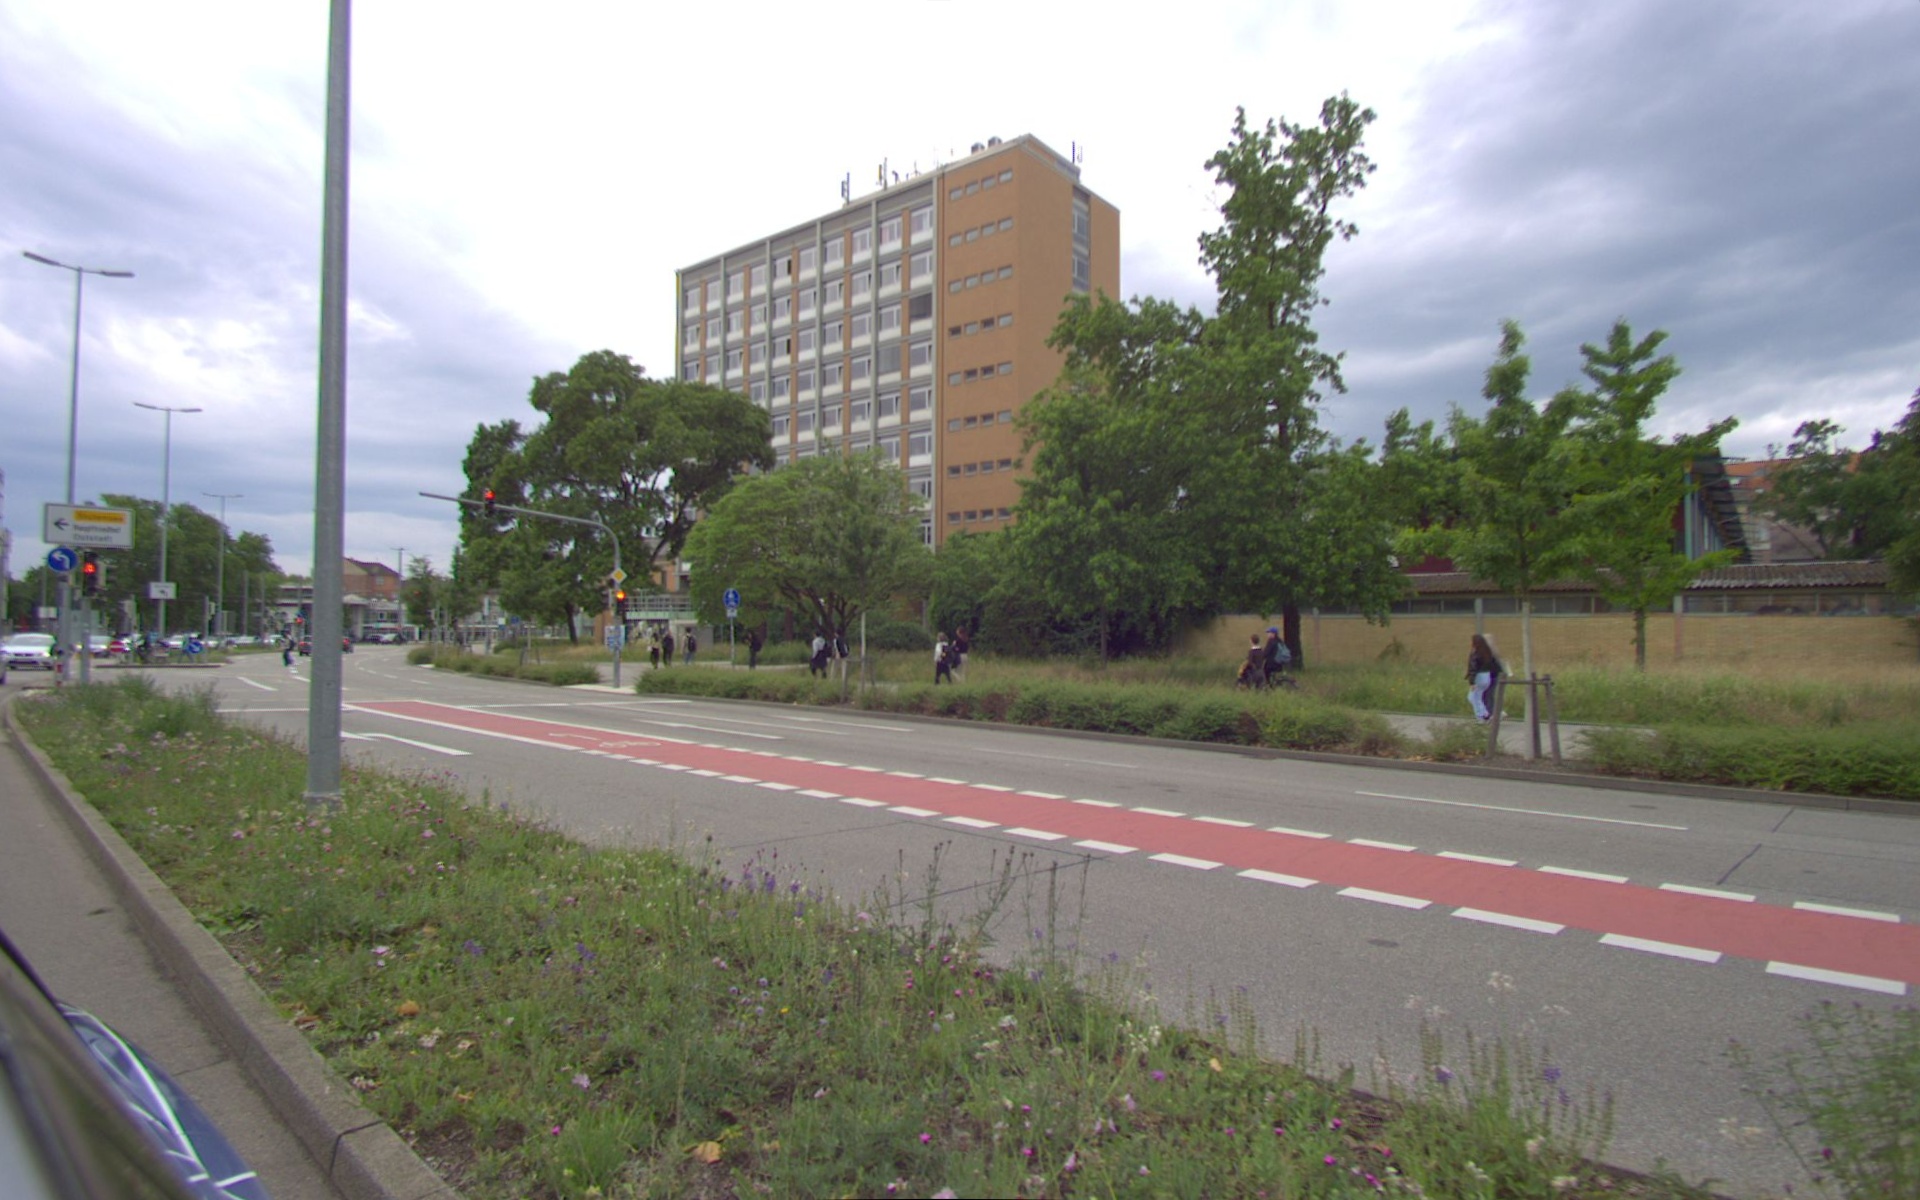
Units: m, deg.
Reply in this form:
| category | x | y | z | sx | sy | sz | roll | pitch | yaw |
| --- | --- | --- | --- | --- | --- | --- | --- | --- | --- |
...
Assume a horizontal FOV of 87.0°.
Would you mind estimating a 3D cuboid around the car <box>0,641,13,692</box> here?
| category | x | y | z | sx | sy | sz | roll | pitch | yaw |
| --- | --- | --- | --- | --- | --- | --- | --- | --- | --- |
| car | -27.204 | 1.828 | 27.409 | 1.699 | 1.425 | 4.256 | 0 | -2 | -35 |

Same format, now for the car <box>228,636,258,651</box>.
| category | x | y | z | sx | sy | sz | roll | pitch | yaw |
| --- | --- | --- | --- | --- | --- | --- | --- | --- | --- |
| car | -79.286 | 4.853 | 111.925 | 1.774 | 1.608 | 3.771 | 2 | -4 | -22 |

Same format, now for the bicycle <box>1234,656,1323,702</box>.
| category | x | y | z | sx | sy | sz | roll | pitch | yaw |
| --- | --- | --- | --- | --- | --- | --- | --- | --- | --- |
| bicycle | 6.473 | 1.594 | 20.648 | 0.651 | 0.895 | 1.719 | 3 | -4 | -31 |

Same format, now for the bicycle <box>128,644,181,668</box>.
| category | x | y | z | sx | sy | sz | roll | pitch | yaw |
| --- | --- | --- | --- | --- | --- | --- | --- | --- | --- |
| bicycle | -40.956 | 2.848 | 51.471 | 0.807 | 1.151 | 1.977 | -3 | -5 | 45 |

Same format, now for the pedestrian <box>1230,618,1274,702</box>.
| category | x | y | z | sx | sy | sz | roll | pitch | yaw |
| --- | --- | --- | --- | --- | --- | --- | --- | --- | --- |
| pedestrian | 5.803 | 1.191 | 20.098 | 0.567 | 1.621 | 0.618 | 3 | -4 | -31 |

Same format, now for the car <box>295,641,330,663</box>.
| category | x | y | z | sx | sy | sz | roll | pitch | yaw |
| --- | --- | --- | --- | --- | --- | --- | --- | --- | --- |
| car | -51.606 | 4.114 | 80.714 | 1.785 | 1.680 | 3.962 | 3 | -3 | -24 |

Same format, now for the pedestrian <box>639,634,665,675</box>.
| category | x | y | z | sx | sy | sz | roll | pitch | yaw |
| --- | --- | --- | --- | --- | --- | --- | --- | --- | --- |
| pedestrian | -12.993 | 2.303 | 42.687 | 0.698 | 1.684 | 0.944 | 2 | -3 | -43 |

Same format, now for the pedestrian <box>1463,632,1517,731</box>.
| category | x | y | z | sx | sy | sz | roll | pitch | yaw |
| --- | --- | --- | --- | --- | --- | --- | --- | --- | --- |
| pedestrian | 9.150 | 1.397 | 17.479 | 0.719 | 1.673 | 0.580 | -2 | -5 | 38 |

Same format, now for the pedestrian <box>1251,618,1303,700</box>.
| category | x | y | z | sx | sy | sz | roll | pitch | yaw |
| --- | --- | --- | --- | --- | --- | --- | --- | --- | --- |
| pedestrian | 6.478 | 1.209 | 20.673 | 0.651 | 1.644 | 0.765 | 3 | -4 | -32 |

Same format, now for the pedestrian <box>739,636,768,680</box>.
| category | x | y | z | sx | sy | sz | roll | pitch | yaw |
| --- | --- | --- | --- | --- | --- | --- | --- | --- | --- |
| pedestrian | -7.745 | 2.177 | 37.927 | 0.824 | 1.625 | 0.630 | -2 | -2 | 22 |

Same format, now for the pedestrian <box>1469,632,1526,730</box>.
| category | x | y | z | sx | sy | sz | roll | pitch | yaw |
| --- | --- | --- | --- | --- | --- | --- | --- | --- | --- |
| pedestrian | 9.565 | 1.429 | 18.003 | 0.766 | 1.685 | 0.700 | -2 | -5 | 38 |

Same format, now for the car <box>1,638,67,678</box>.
| category | x | y | z | sx | sy | sz | roll | pitch | yaw |
| --- | --- | --- | --- | --- | --- | --- | --- | --- | --- |
| car | -37.322 | 2.299 | 40.864 | 1.759 | 1.474 | 3.877 | 1 | -2 | -39 |

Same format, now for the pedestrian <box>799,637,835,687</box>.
| category | x | y | z | sx | sy | sz | roll | pitch | yaw |
| --- | --- | --- | --- | --- | --- | --- | --- | --- | --- |
| pedestrian | -4.309 | 1.861 | 30.473 | 0.720 | 1.491 | 0.814 | 4 | -5 | -43 |

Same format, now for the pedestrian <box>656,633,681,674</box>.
| category | x | y | z | sx | sy | sz | roll | pitch | yaw |
| --- | --- | --- | --- | --- | --- | --- | --- | --- | --- |
| pedestrian | -12.443 | 2.275 | 43.190 | 0.698 | 1.683 | 0.890 | 0 | -2 | -43 |

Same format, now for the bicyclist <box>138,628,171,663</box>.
| category | x | y | z | sx | sy | sz | roll | pitch | yaw |
| --- | --- | --- | --- | --- | --- | --- | --- | --- | --- |
| bicyclist | -40.974 | 2.330 | 51.490 | 0.807 | 1.749 | 1.175 | -3 | -5 | 45 |

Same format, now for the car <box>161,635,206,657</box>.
| category | x | y | z | sx | sy | sz | roll | pitch | yaw |
| --- | --- | --- | --- | --- | --- | --- | --- | --- | --- |
| car | -70.275 | 4.206 | 91.641 | 1.966 | 1.896 | 4.012 | 2 | -4 | -19 |

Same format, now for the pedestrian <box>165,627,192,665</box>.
| category | x | y | z | sx | sy | sz | roll | pitch | yaw |
| --- | --- | --- | --- | --- | --- | --- | --- | --- | --- |
| pedestrian | -38.271 | 2.259 | 49.556 | 0.904 | 1.818 | 0.542 | 3 | -4 | -31 |

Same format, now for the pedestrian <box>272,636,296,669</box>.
| category | x | y | z | sx | sy | sz | roll | pitch | yaw |
| --- | --- | --- | --- | --- | --- | --- | --- | --- | --- |
| pedestrian | -35.054 | 2.728 | 52.509 | 0.705 | 1.680 | 0.768 | -2 | -4 | 35 |

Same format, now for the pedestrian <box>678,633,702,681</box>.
| category | x | y | z | sx | sy | sz | roll | pitch | yaw |
| --- | --- | --- | --- | --- | --- | --- | --- | --- | --- |
| pedestrian | -10.527 | 2.215 | 39.481 | 0.629 | 1.815 | 0.762 | 2 | -4 | -43 |

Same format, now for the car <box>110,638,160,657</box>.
| category | x | y | z | sx | sy | sz | roll | pitch | yaw |
| --- | --- | --- | --- | --- | --- | --- | --- | --- | --- |
| car | -67.715 | 3.883 | 83.123 | 1.789 | 1.486 | 4.045 | 2 | -4 | -19 |

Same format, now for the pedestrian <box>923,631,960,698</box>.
| category | x | y | z | sx | sy | sz | roll | pitch | yaw |
| --- | --- | --- | --- | --- | --- | --- | --- | --- | --- |
| pedestrian | -0.489 | 1.675 | 26.458 | 0.613 | 1.708 | 0.748 | 4 | -5 | -38 |

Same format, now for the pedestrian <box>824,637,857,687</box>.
| category | x | y | z | sx | sy | sz | roll | pitch | yaw |
| --- | --- | --- | --- | --- | --- | --- | --- | --- | --- |
| pedestrian | -3.682 | 1.910 | 31.168 | 0.628 | 1.491 | 0.762 | 4 | -5 | -43 |

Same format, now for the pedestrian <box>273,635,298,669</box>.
| category | x | y | z | sx | sy | sz | roll | pitch | yaw |
| --- | --- | --- | --- | --- | --- | --- | --- | --- | --- |
| pedestrian | -36.501 | 2.816 | 54.745 | 0.735 | 1.818 | 0.762 | -1 | -4 | 21 |

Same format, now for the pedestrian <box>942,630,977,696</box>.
| category | x | y | z | sx | sy | sz | roll | pitch | yaw |
| --- | --- | --- | --- | --- | --- | --- | --- | --- | --- |
| pedestrian | -0.008 | 1.682 | 27.028 | 0.571 | 1.725 | 0.763 | 4 | -5 | -39 |
